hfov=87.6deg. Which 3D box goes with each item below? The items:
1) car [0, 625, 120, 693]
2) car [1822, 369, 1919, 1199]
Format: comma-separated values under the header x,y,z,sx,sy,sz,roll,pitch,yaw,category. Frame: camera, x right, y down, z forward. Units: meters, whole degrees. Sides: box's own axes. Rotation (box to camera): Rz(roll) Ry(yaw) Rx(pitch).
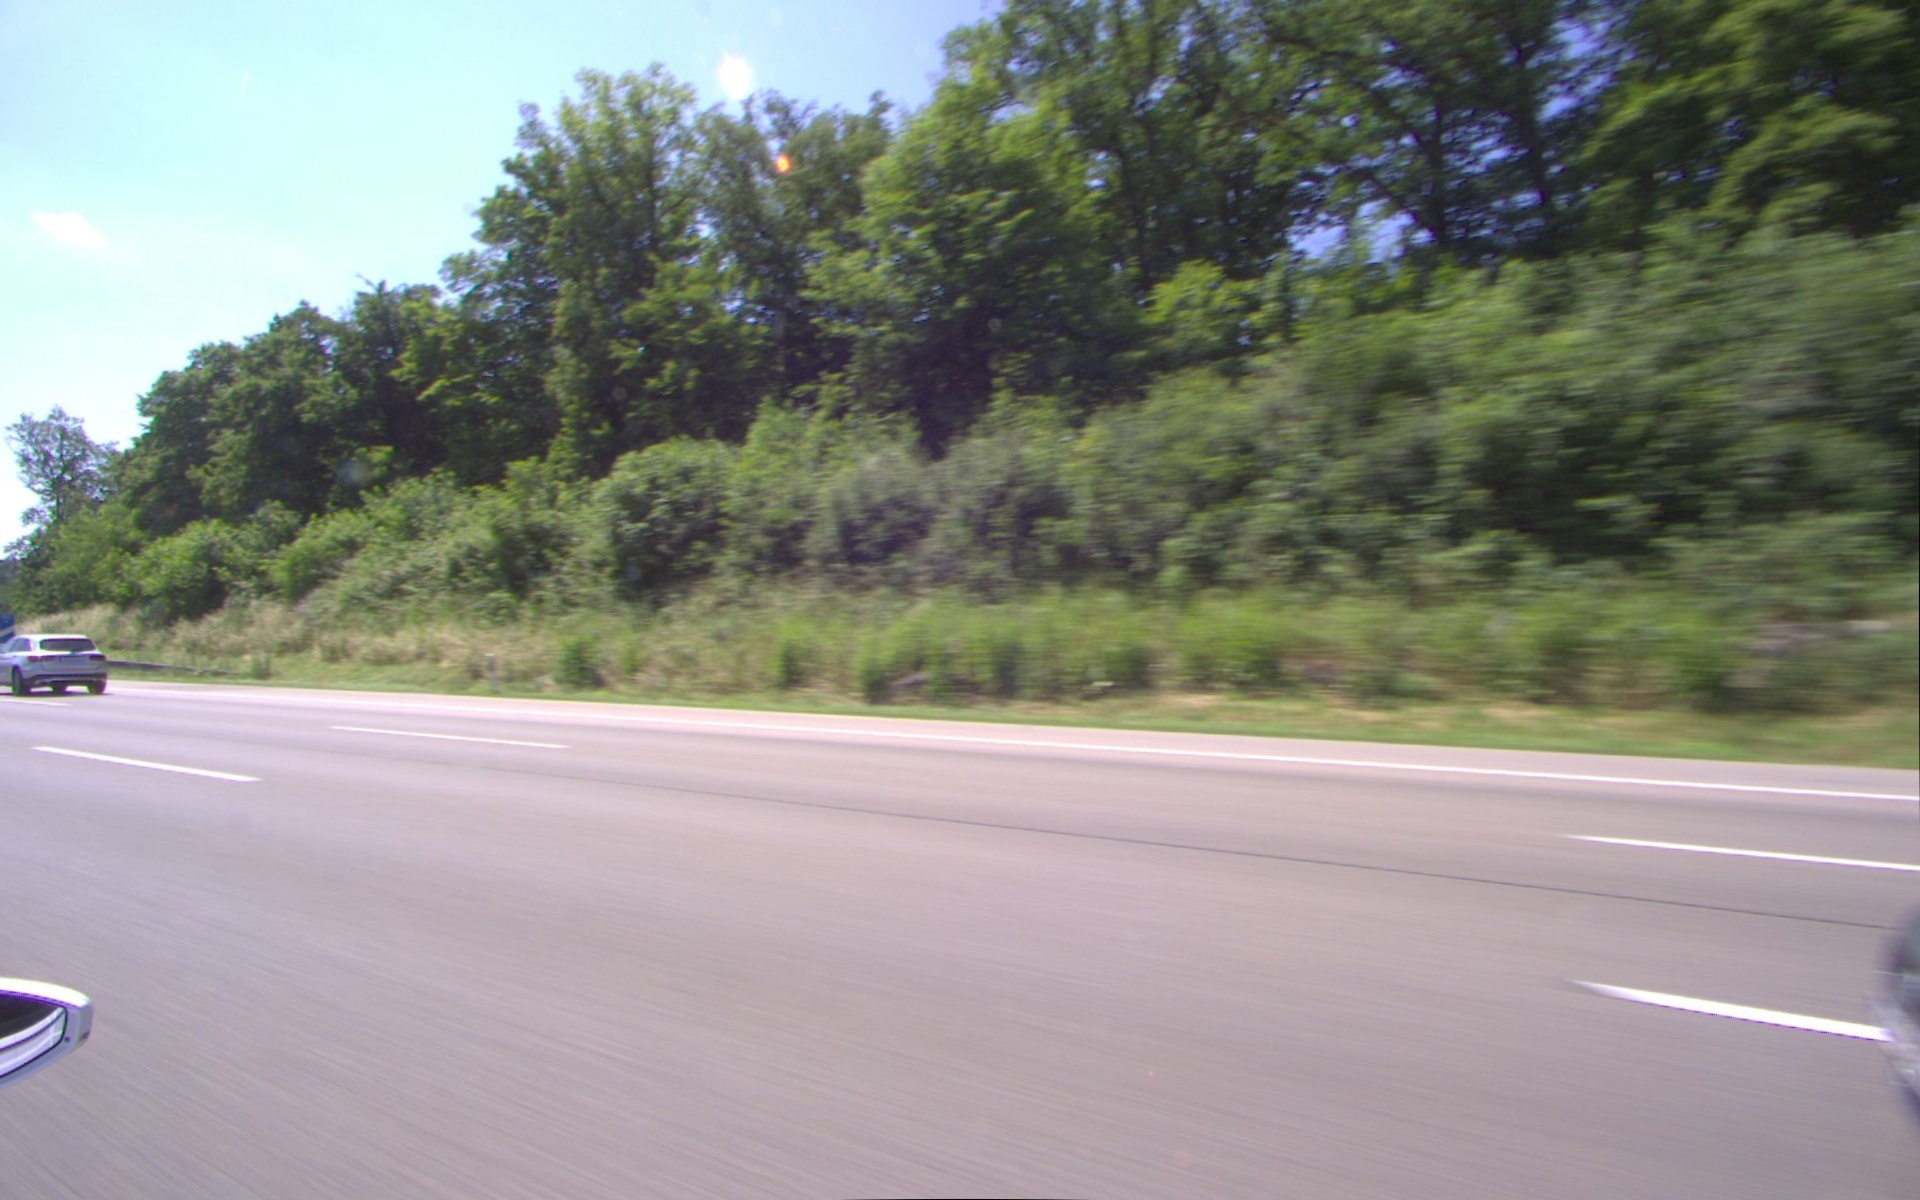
x,y,z,sx,sy,sz,roll,pitch,yaw,category
-25.950,1.609,28.346,5.163,1.753,1.798,-1,-2,32,car
4.350,0.474,1.236,4.715,2.080,1.958,0,-2,32,car
